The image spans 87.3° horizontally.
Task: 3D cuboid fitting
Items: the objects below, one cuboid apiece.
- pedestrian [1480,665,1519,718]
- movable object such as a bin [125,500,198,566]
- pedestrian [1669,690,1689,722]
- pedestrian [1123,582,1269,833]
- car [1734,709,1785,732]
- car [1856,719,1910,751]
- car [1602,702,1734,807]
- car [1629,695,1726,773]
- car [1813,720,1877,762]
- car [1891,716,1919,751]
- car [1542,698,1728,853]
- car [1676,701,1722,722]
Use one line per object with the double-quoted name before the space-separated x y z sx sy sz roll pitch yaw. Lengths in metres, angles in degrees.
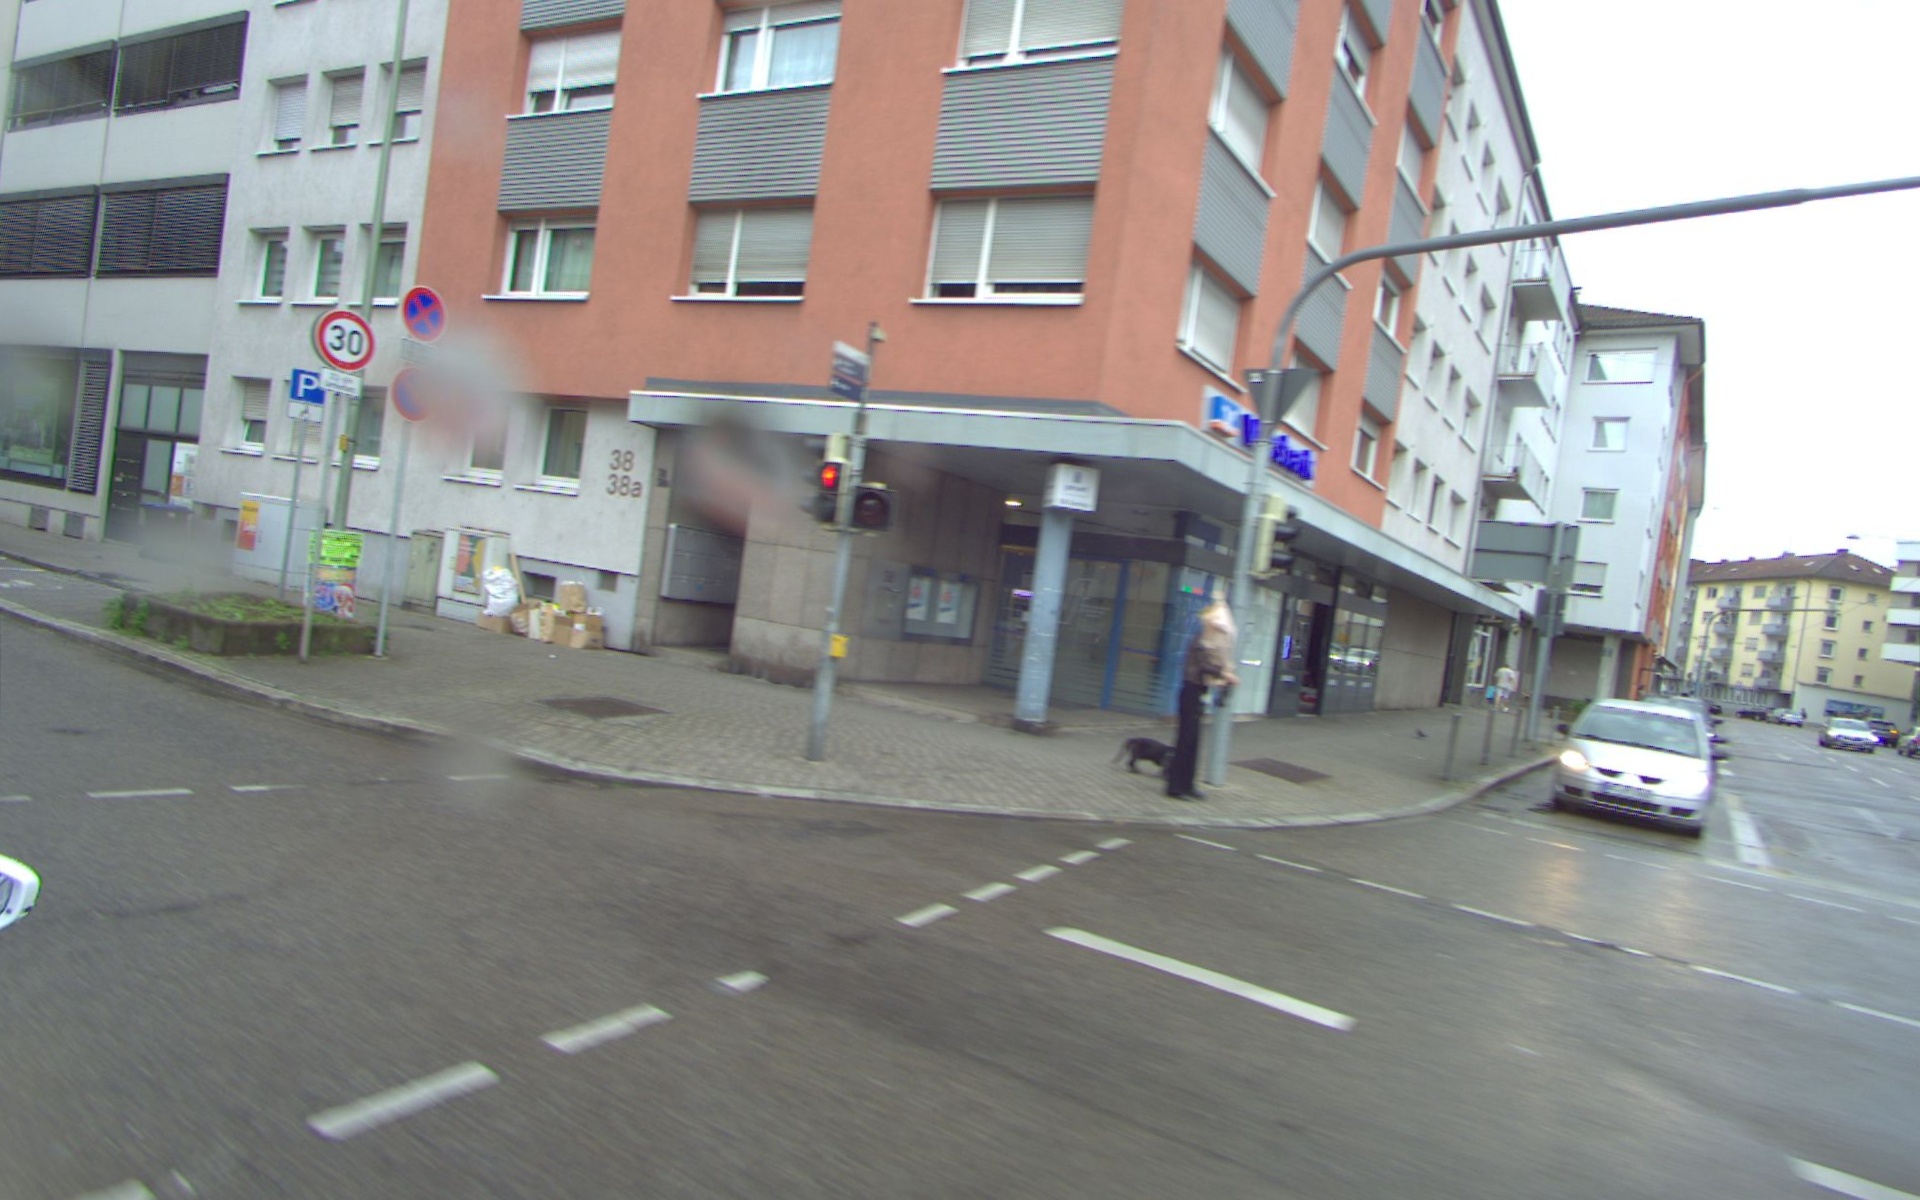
"pedestrian" 18.576 3.148 34.639 0.813 1.631 1.011 10 0 37
"movable object such as a bin" -15.166 -1.267 19.110 0.770 1.081 0.714 9 2 24
"pedestrian" 43.364 6.388 60.700 0.679 1.827 0.705 10 0 30
"pedestrian" 2.252 1.006 9.557 0.757 2.183 0.826 10 0 36
"car" 80.207 12.066 100.983 1.891 1.725 3.967 10 -1 5
"car" 58.054 8.476 63.345 1.969 1.505 3.985 10 2 37
"car" 13.163 2.762 18.722 1.642 1.442 4.370 9 1 36
"car" 18.692 3.421 26.164 1.730 1.561 4.238 9 1 37
"car" 42.342 6.692 48.206 1.827 1.505 3.985 10 2 37
"car" 48.203 6.768 50.221 1.969 1.505 3.984 10 3 37
"car" 9.224 2.242 13.717 1.676 1.504 3.947 9 1 36
"car" 80.907 12.191 110.208 1.892 1.725 3.965 10 -1 2
